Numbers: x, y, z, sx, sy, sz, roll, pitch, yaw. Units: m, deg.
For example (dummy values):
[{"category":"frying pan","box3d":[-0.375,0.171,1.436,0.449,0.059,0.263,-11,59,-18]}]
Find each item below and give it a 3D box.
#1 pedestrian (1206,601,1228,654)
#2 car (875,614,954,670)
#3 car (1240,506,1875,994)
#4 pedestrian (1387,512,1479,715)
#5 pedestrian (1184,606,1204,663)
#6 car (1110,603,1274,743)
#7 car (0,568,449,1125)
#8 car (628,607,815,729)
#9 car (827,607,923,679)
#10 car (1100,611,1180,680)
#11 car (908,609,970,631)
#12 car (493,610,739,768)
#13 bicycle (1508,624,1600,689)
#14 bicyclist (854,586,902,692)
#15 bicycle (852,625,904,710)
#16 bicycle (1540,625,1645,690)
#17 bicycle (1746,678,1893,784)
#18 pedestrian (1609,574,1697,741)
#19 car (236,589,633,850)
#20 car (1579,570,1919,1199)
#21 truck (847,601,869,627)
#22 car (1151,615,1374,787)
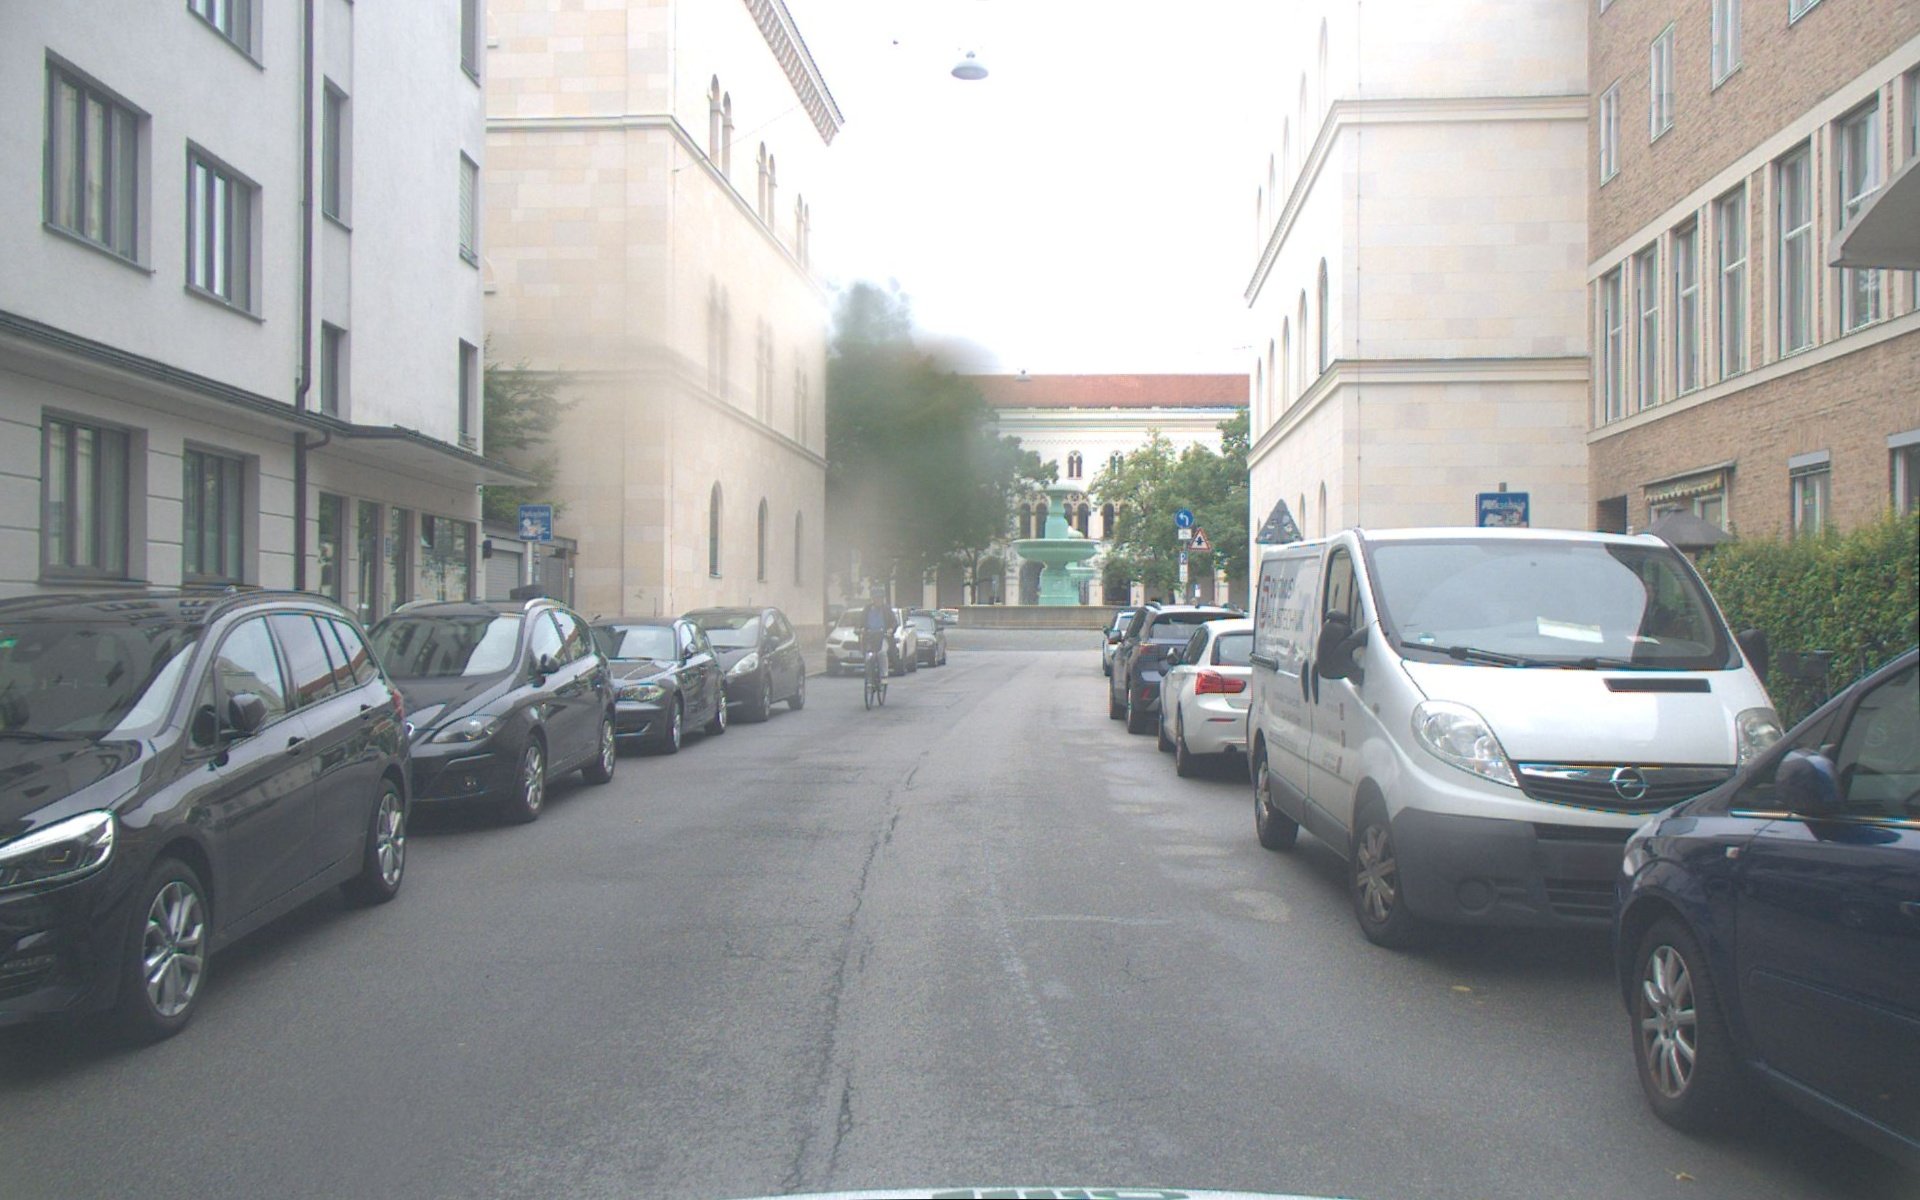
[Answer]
[{"category":"pedestrian","box3d":[8.376,0.892,53.910,0.608,1.711,0.545,1,0,-1]},{"category":"car","box3d":[-1.188,1.123,44.897,1.662,1.417,4.214,-1,-1,5]},{"category":"car","box3d":[2.821,0.606,9.109,1.843,1.958,4.875,0,0,1]},{"category":"pedestrian","box3d":[5.327,0.146,18.671,0.777,2.236,0.813,1,0,-1]},{"category":"pedestrian","box3d":[7.610,1.121,53.718,0.628,1.840,0.489,0,0,10]},{"category":"car","box3d":[2.915,0.873,21.489,1.711,1.621,3.957,1,0,2]},{"category":"car","box3d":[-3.766,0.753,7.264,1.835,1.687,4.587,-1,0,-4]},{"category":"car","box3d":[-3.242,0.881,23.275,1.713,1.479,4.018,-1,0,5]},{"category":"car","box3d":[-1.920,0.989,38.682,1.741,1.562,4.213,-1,-1,4]},{"category":"car","box3d":[4.230,1.033,39.132,1.751,1.502,4.315,1,0,5]},{"category":"car","box3d":[-1.339,1.313,107.456,3.903,1.400,2.001,0,0,3]},{"category":"car","box3d":[-3.705,0.898,18.517,1.714,1.479,4.017,-1,0,2]},{"category":"bicycle","box3d":[9.983,0.953,27.822,1.399,1.060,0.348,-1,-1,3]},{"category":"bicyclist","box3d":[-1.245,0.590,25.187,0.643,1.578,0.888,0,-1,2]},{"category":"bicycle","box3d":[-1.241,1.002,25.236,0.635,1.218,1.950,0,0,2]},{"category":"bicycle","box3d":[10.634,0.969,27.837,1.595,1.060,0.349,-1,-1,9]},{"category":"bicycle","box3d":[7.720,1.156,14.909,0.506,0.832,1.432,0,0,-4]},{"category":"pedestrian","box3d":[7.104,0.572,16.985,0.575,1.661,0.877,1,0,4]},{"category":"car","box3d":[-3.890,0.778,13.026,1.834,1.687,4.079,-1,0,-1]},{"category":"car","box3d":[3.079,0.750,3.513,1.772,1.628,4.212,0,0,-3]},{"category":"truck","box3d":[-10.032,1.372,163.019,1.955,2.532,3.995,1,0,-6]},{"category":"car","box3d":[2.874,0.897,16.491,1.638,1.442,4.203,1,0,3]}]
